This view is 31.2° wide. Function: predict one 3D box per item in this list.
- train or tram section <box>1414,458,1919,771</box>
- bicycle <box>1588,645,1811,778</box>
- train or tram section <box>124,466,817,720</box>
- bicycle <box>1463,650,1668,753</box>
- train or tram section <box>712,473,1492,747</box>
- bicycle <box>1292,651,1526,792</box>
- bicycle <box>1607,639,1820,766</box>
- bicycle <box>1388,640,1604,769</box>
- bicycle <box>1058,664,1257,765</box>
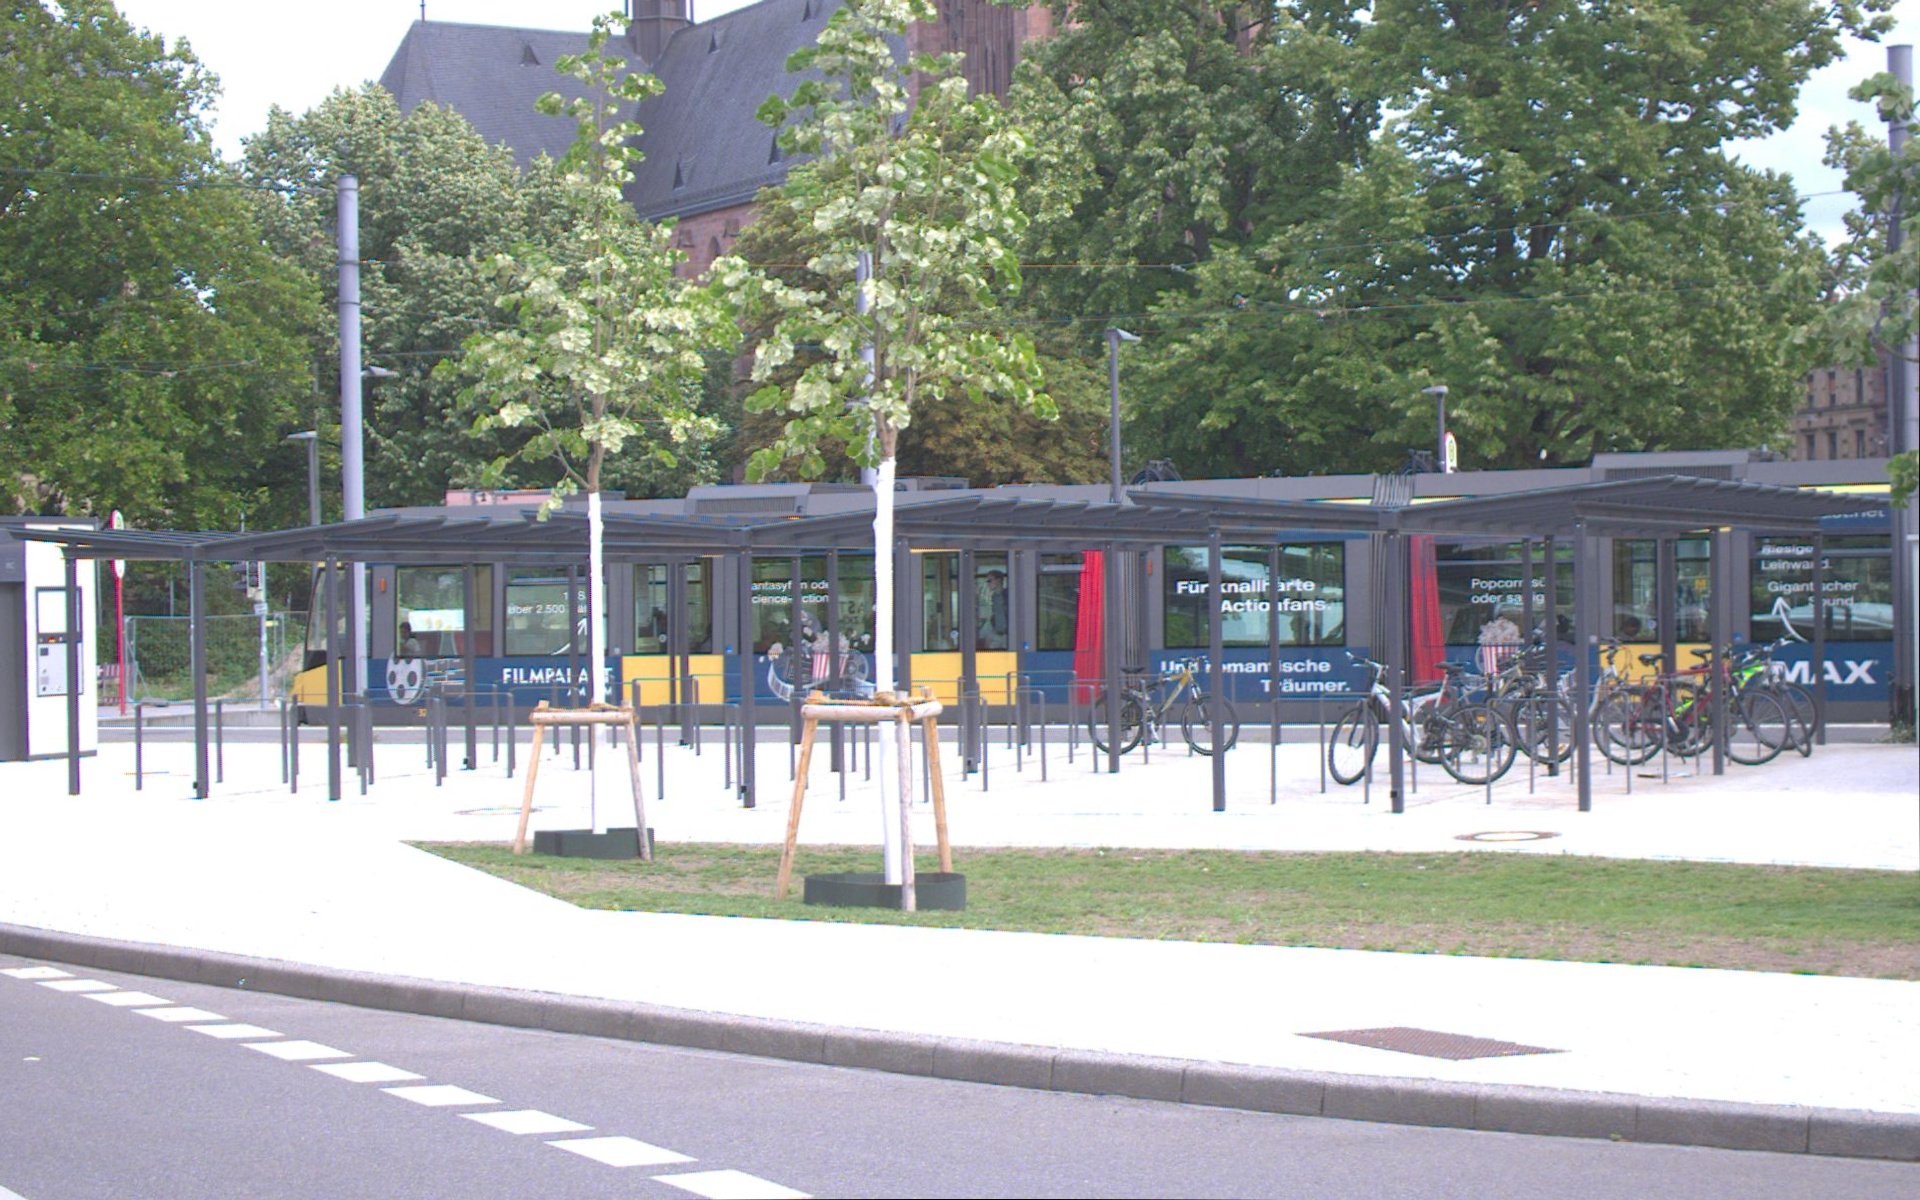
[{"bbox_3d":[10.438,0.110,39.374,9.911,3.438,3.058,1,2,25],"label":"train or tram section"},{"bbox_3d":[6.830,1.017,31.743,1.961,1.152,0.584,1,2,17],"label":"bicycle"},{"bbox_3d":[-6.837,-0.197,47.565,9.352,3.266,3.058,1,2,25],"label":"train or tram section"},{"bbox_3d":[6.122,1.017,34.786,1.962,0.967,0.583,1,2,22],"label":"bicycle"},{"bbox_3d":[1.722,0.005,43.535,9.412,3.201,3.058,1,2,25],"label":"train or tram section"},{"bbox_3d":[3.935,1.054,30.133,1.961,1.152,0.584,1,2,17],"label":"bicycle"},{"bbox_3d":[7.261,0.977,33.133,1.961,1.152,0.584,1,2,17],"label":"bicycle"},{"bbox_3d":[5.095,0.984,32.661,1.961,1.152,0.584,1,2,17],"label":"bicycle"},{"bbox_3d":[2.026,1.165,35.325,1.962,0.951,0.583,1,2,22],"label":"bicycle"}]
